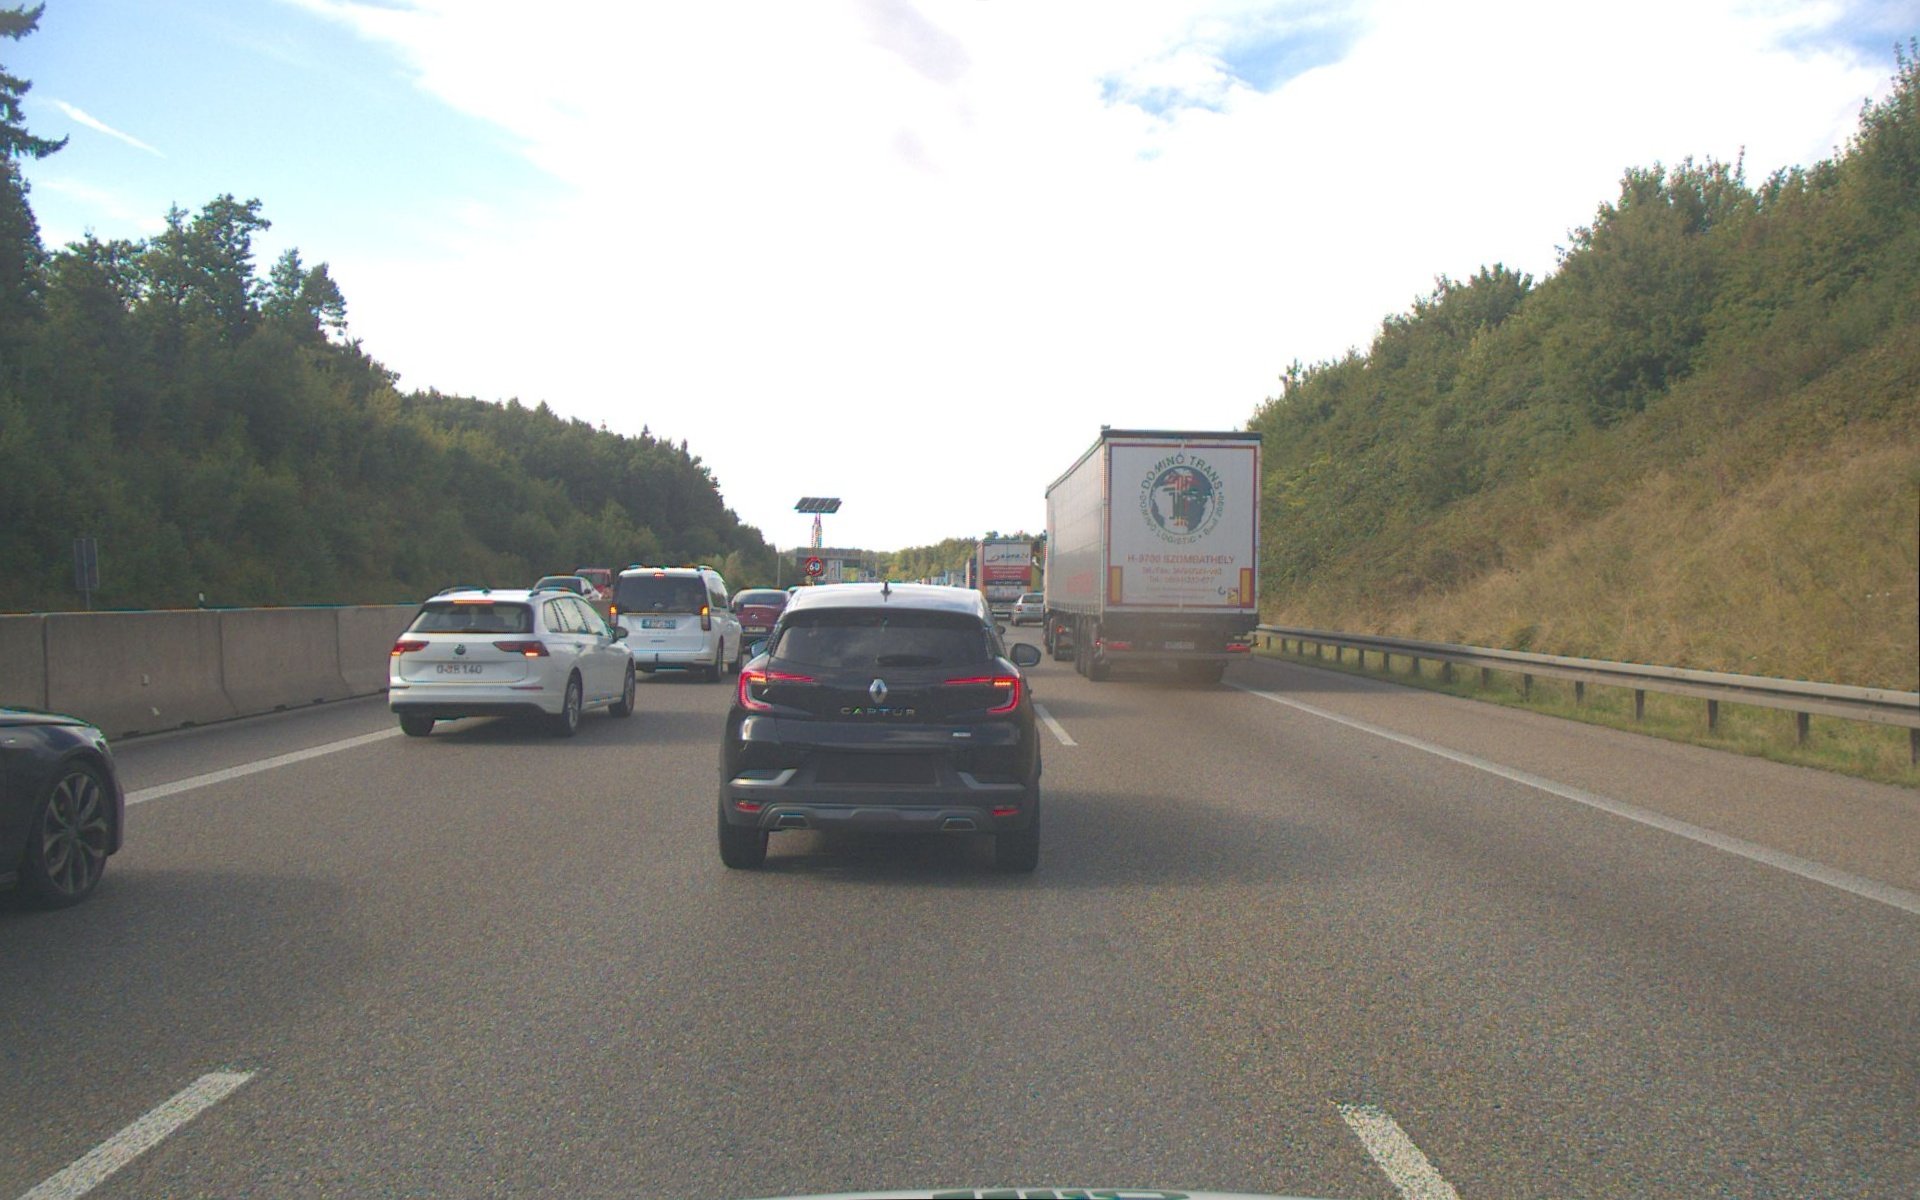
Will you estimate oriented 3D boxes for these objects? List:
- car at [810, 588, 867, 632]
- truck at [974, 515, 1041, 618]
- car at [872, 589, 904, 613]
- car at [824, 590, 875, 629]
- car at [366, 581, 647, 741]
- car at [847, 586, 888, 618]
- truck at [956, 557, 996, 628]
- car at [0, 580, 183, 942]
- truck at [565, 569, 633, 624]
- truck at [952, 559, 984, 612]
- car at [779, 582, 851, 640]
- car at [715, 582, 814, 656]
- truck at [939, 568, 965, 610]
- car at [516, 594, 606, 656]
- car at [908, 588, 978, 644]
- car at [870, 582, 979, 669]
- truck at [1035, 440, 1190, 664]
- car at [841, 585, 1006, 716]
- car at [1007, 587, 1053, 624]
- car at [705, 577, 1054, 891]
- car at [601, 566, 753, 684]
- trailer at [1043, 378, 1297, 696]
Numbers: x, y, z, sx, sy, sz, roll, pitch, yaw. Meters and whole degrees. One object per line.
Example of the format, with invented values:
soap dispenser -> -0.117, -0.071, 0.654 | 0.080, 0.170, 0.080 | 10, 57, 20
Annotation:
car -> -4.795, 0.390, 65.834 | 1.953, 1.641, 4.000 | 1, 0, 0
truck -> 2.436, -1.661, 89.619 | 3.296, 5.132, 12.737 | 1, 0, 0
car -> -4.931, 0.062, 113.696 | 1.953, 1.641, 4.000 | 1, 0, 0
car -> -4.877, 0.414, 73.367 | 1.953, 1.641, 4.000 | 1, 0, 0
car -> -4.685, 0.580, 17.749 | 1.767, 1.486, 4.309 | 1, 0, 1
car -> -4.905, 0.099, 88.042 | 1.953, 1.641, 4.000 | 1, 0, 0
truck -> 1.343, -0.597, 138.571 | 3.101, 5.601, 12.737 | 1, 0, 0
car -> -4.841, 0.656, 5.981 | 1.805, 1.481, 4.747 | 1, 0, 0
truck -> -19.831, -0.217, 91.185 | 2.373, 2.905, 6.429 | 1, 0, -1
truck -> 0.956, -1.495, 180.662 | 3.101, 5.601, 12.740 | 1, 0, 2
car -> -4.646, 0.350, 53.606 | 1.953, 1.752, 4.000 | 1, 0, 0
car -> -4.615, 0.438, 39.534 | 1.817, 1.669, 3.926 | 1, 0, 1
truck -> -0.976, -1.341, 213.665 | 3.101, 5.249, 12.737 | 1, 0, 0
car -> -12.742, 0.760, 53.084 | 1.814, 1.841, 4.624 | 1, 0, -1
car -> -0.476, 0.452, 48.345 | 1.953, 1.540, 4.000 | 1, 0, 0
car -> -0.636, 0.460, 31.882 | 1.953, 1.540, 4.000 | 1, 0, 0
truck -> 3.406, -1.044, 38.403 | 2.936, 4.749, 5.938 | 1, 0, -1
car -> -0.432, 0.608, 21.826 | 1.953, 1.540, 4.000 | 1, 0, 0
car -> 3.109, 0.239, 73.673 | 1.768, 1.559, 3.924 | 1, 0, -1
car -> -0.343, 0.675, 10.406 | 1.767, 1.579, 4.001 | 0, 0, 2
car -> -4.699, 0.397, 28.043 | 1.873, 1.821, 4.416 | 1, 0, -1
trailer -> 3.494, -0.991, 31.495 | 2.941, 4.742, 13.288 | 1, 0, -1
